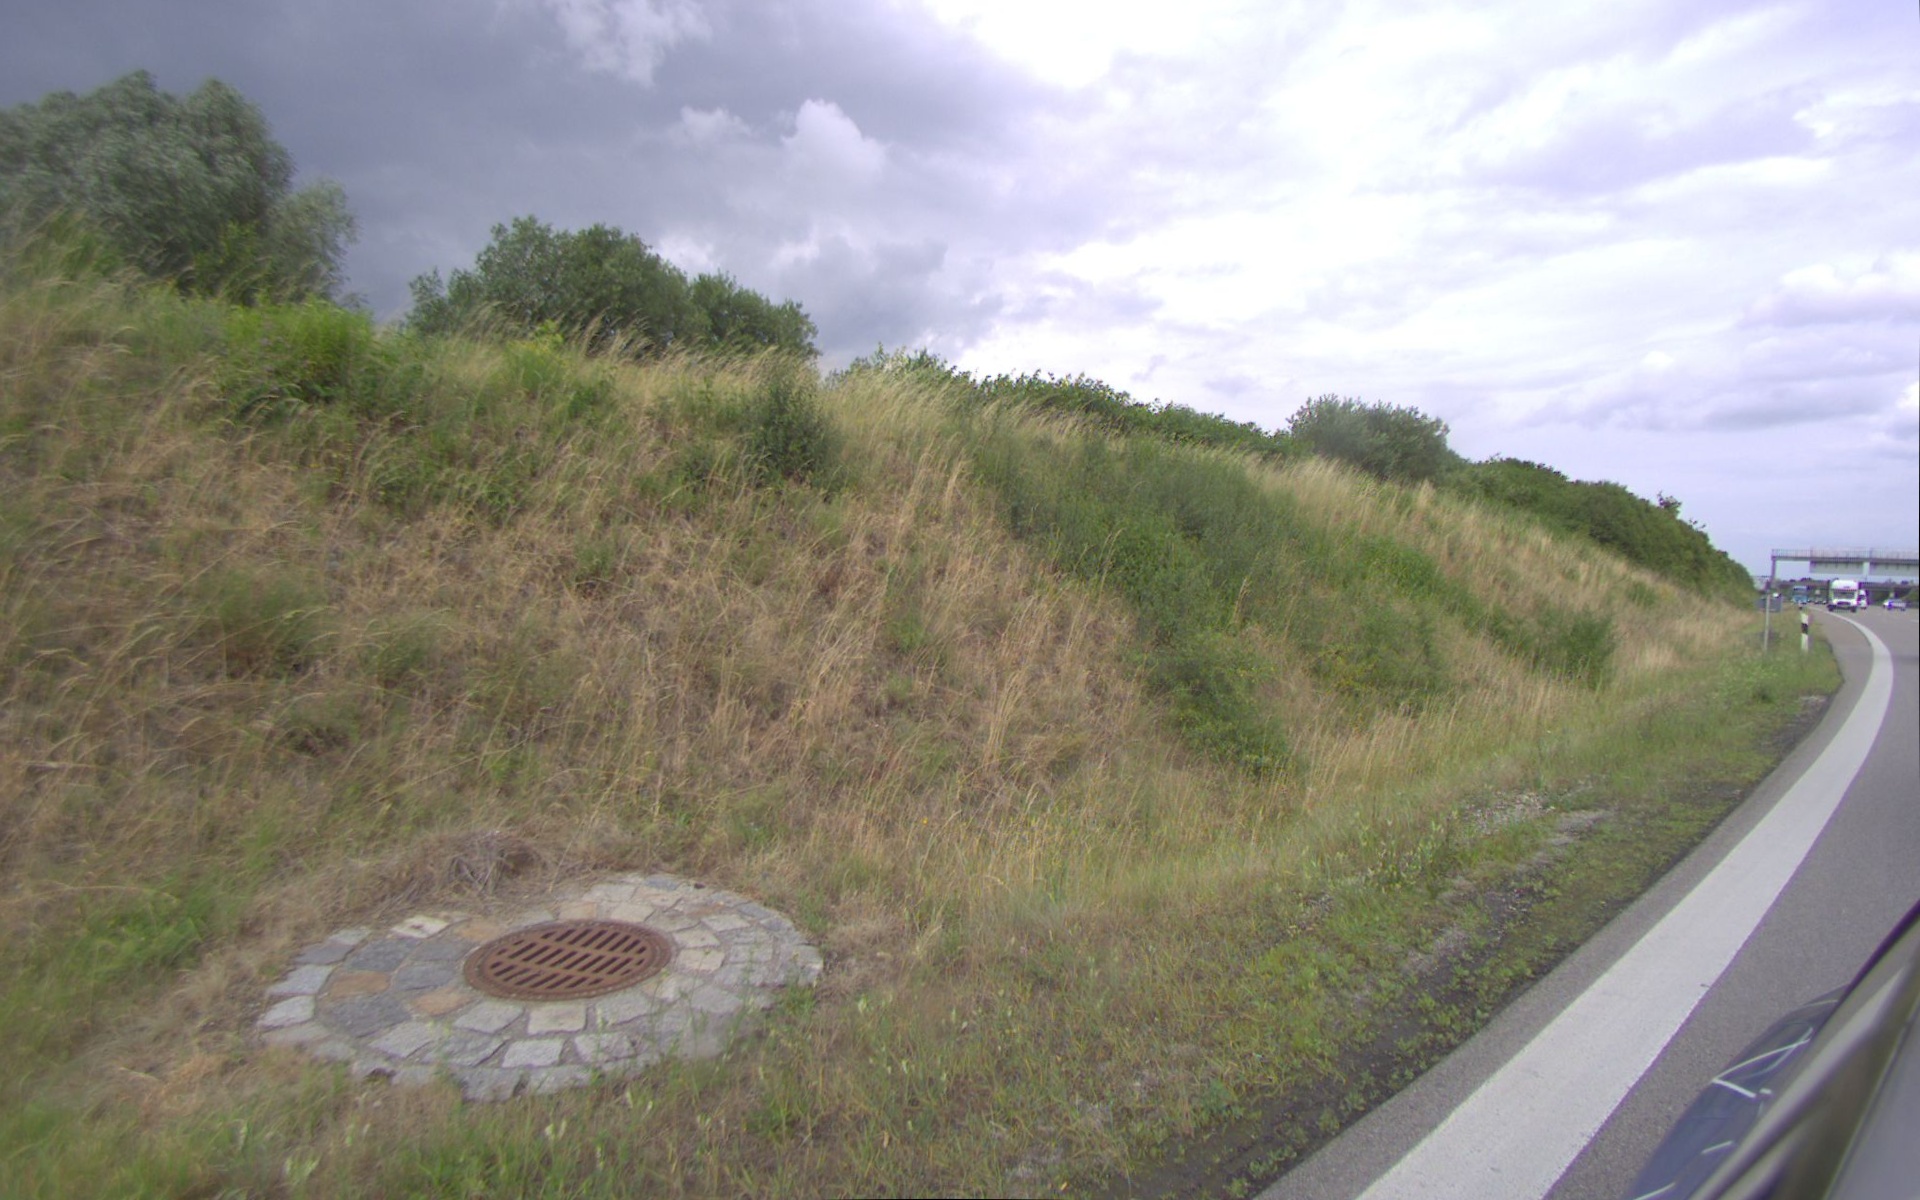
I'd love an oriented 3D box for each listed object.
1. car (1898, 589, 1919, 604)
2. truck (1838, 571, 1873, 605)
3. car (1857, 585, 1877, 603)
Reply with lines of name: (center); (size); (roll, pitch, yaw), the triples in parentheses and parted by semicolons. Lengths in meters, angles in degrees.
car: (129.863, -0.529, 138.513); (1.994, 2.039, 3.936); (0, 1, 45)
truck: (89.896, -1.188, 101.699); (2.440, 3.275, 7.086); (2, 2, 41)
car: (124.560, -0.829, 139.018); (1.993, 2.425, 3.939); (0, 1, 43)
